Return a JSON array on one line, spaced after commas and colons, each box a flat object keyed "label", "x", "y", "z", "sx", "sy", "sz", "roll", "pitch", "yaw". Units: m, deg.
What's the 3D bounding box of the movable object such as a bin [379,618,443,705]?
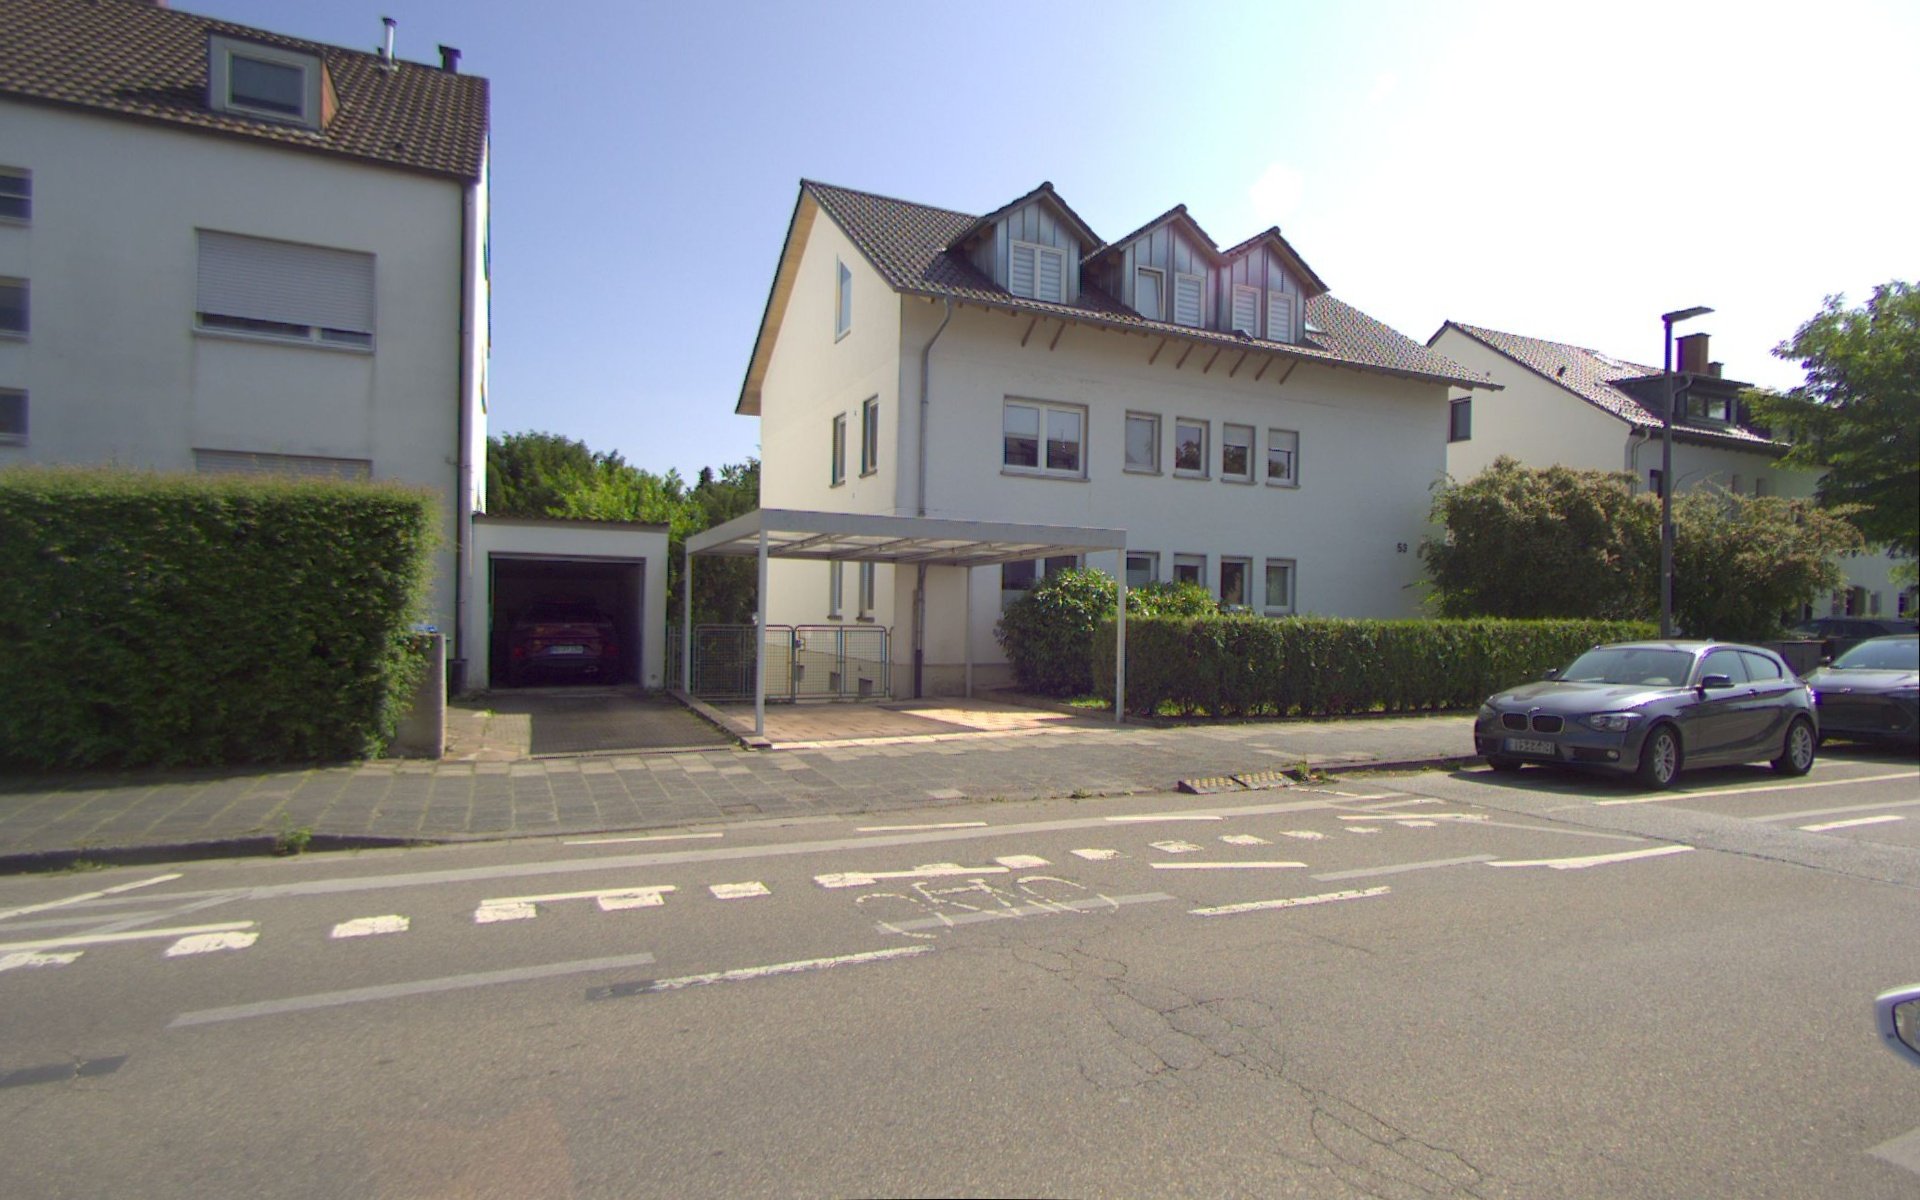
[{"label": "movable object such as a bin", "x": -7.301, "y": 0.802, "z": 13.377, "sx": 0.699, "sy": 1.106, "sz": 0.697, "roll": 2, "pitch": -1, "yaw": -29}]

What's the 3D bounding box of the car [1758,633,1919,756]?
[{"label": "car", "x": 12.995, "y": 1.207, "z": 13.612, "sx": 4.054, "sy": 1.459, "sz": 1.781, "roll": 2, "pitch": -2, "yaw": -24}]

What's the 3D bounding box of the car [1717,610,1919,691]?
[{"label": "car", "x": 21.434, "y": 1.170, "z": 24.782, "sx": 1.972, "sy": 1.783, "sz": 3.976, "roll": 1, "pitch": 0, "yaw": -24}]

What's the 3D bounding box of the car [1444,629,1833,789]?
[{"label": "car", "x": 7.398, "y": 1.063, "z": 10.904, "sx": 4.102, "sy": 1.459, "sz": 1.779, "roll": 2, "pitch": -2, "yaw": -28}]

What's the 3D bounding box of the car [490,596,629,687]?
[{"label": "car", "x": -7.287, "y": 0.676, "z": 18.042, "sx": 1.877, "sy": 1.434, "sz": 3.970, "roll": 2, "pitch": -1, "yaw": -28}]
